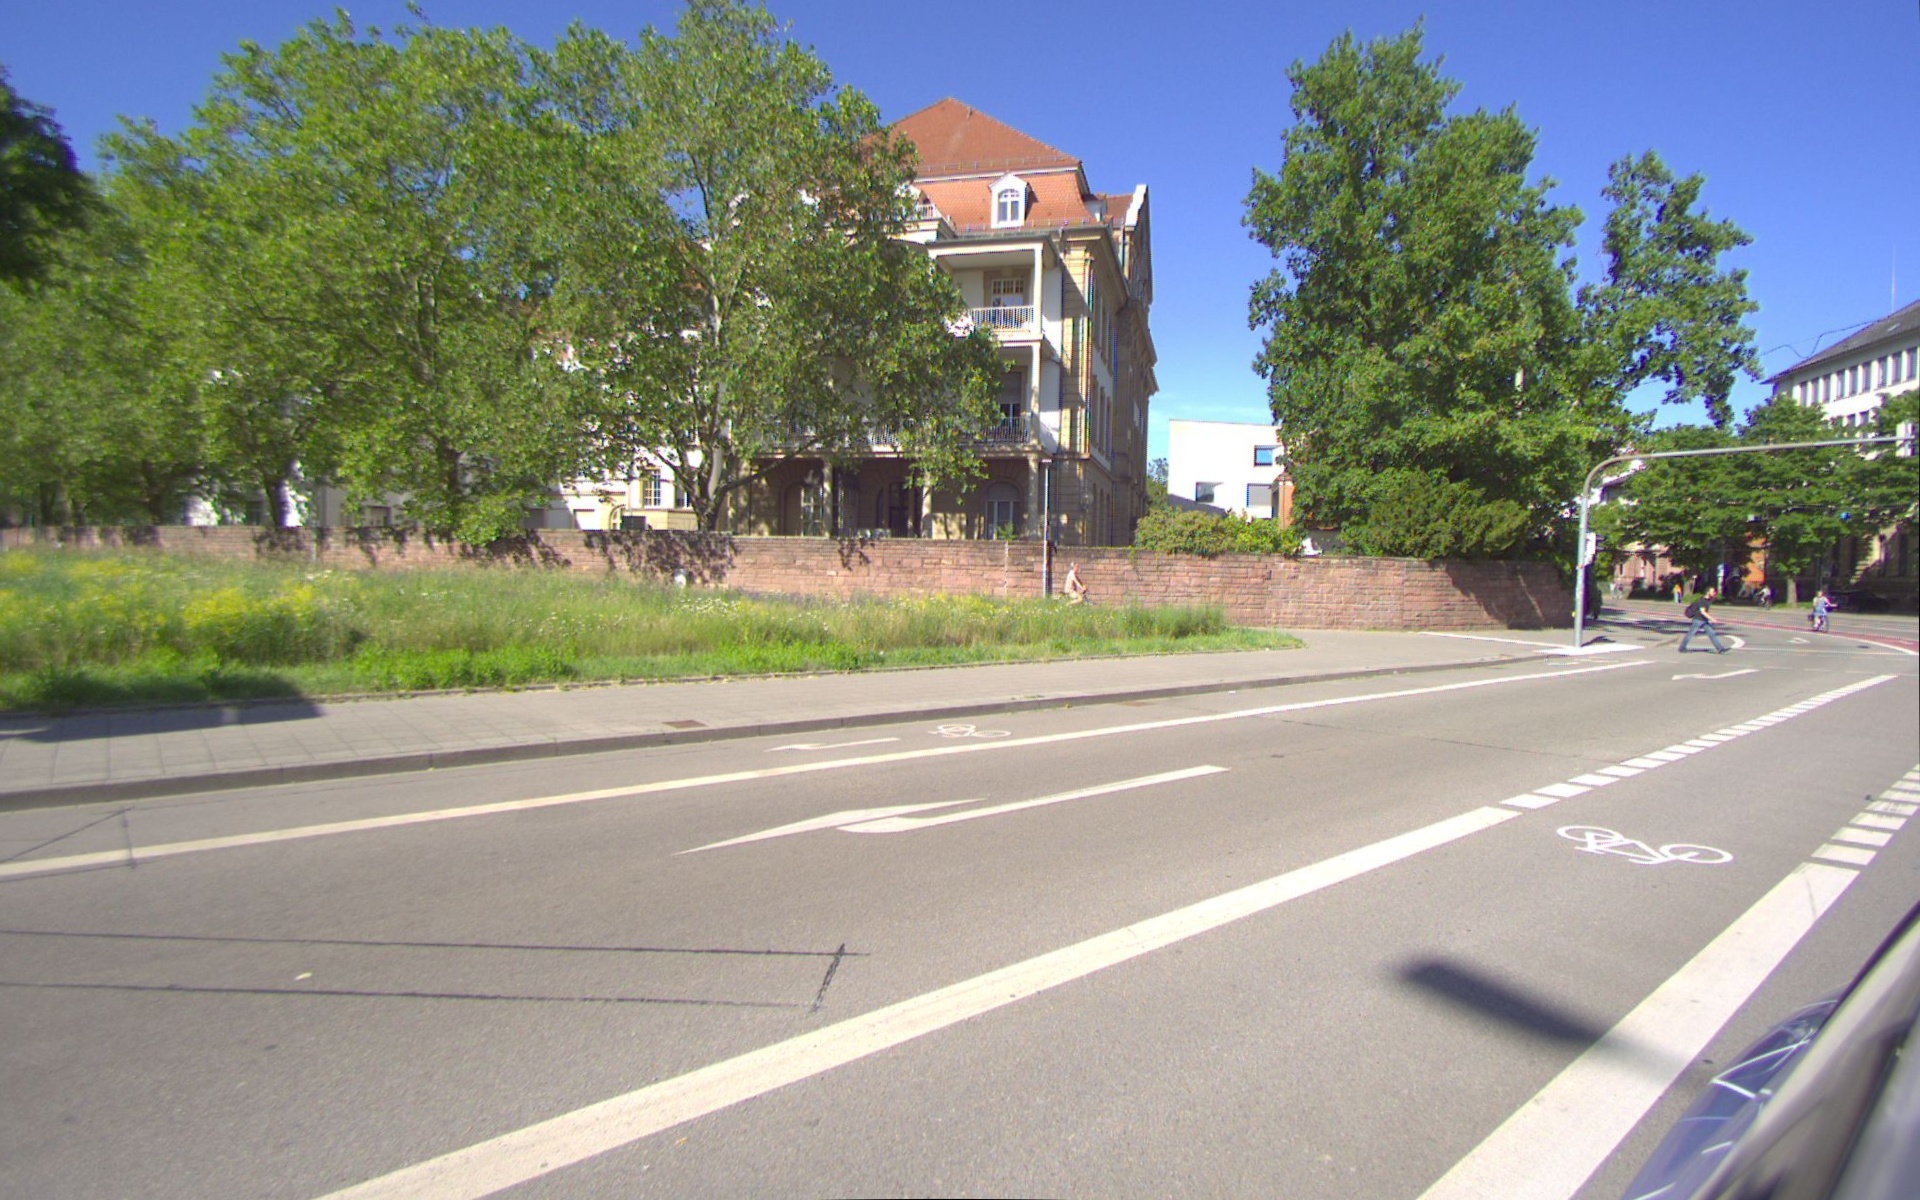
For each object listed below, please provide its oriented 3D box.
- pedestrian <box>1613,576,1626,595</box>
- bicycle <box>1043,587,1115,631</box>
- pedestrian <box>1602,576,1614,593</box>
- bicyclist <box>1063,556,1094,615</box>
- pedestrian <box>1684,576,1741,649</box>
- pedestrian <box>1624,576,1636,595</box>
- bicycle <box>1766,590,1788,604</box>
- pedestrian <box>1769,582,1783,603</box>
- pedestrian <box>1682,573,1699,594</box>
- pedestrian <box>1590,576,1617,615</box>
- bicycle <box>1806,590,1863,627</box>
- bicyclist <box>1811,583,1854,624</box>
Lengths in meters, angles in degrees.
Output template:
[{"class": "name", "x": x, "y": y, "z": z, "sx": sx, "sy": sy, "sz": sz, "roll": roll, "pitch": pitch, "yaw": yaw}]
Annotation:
[{"class": "pedestrian", "x": 66.478, "y": -1.460, "z": 102.031, "sx": 0.746, "sy": 1.836, "sz": 0.976, "roll": 1, "pitch": -2, "yaw": 14}, {"class": "bicycle", "x": 3.296, "y": 0.235, "z": 27.997, "sx": 1.858, "sy": 1.083, "sz": 0.721, "roll": 4, "pitch": 1, "yaw": 15}, {"class": "pedestrian", "x": 69.866, "y": -1.704, "z": 109.121, "sx": 0.745, "sy": 1.835, "sz": 0.978, "roll": 1, "pitch": 1, "yaw": 10}, {"class": "bicyclist", "x": 3.285, "y": -0.409, "z": 27.997, "sx": 0.766, "sy": 1.626, "sz": 0.720, "roll": 1, "pitch": 1, "yaw": 13}, {"class": "pedestrian", "x": 20.233, "y": 0.330, "z": 27.218, "sx": 0.718, "sy": 1.872, "sz": 0.961, "roll": 0, "pitch": 3, "yaw": -38}, {"class": "pedestrian", "x": 67.427, "y": -1.462, "z": 101.823, "sx": 0.747, "sy": 1.836, "sz": 0.974, "roll": 1, "pitch": -2, "yaw": 18}, {"class": "bicycle", "x": 57.560, "y": -0.212, "z": 71.353, "sx": 0.593, "sy": 1.019, "sz": 1.975, "roll": 0, "pitch": 1, "yaw": 20}, {"class": "pedestrian", "x": 57.547, "y": -0.536, "z": 71.335, "sx": 0.589, "sy": 1.420, "sz": 0.641, "roll": 0, "pitch": 0, "yaw": 21}, {"class": "pedestrian", "x": 63.354, "y": -1.436, "z": 87.749, "sx": 0.745, "sy": 1.835, "sz": 0.978, "roll": 1, "pitch": 1, "yaw": 9}, {"class": "pedestrian", "x": 29.491, "y": -0.205, "z": 46.363, "sx": 0.935, "sy": 1.742, "sz": 0.983, "roll": 2, "pitch": 2, "yaw": 37}, {"class": "bicycle", "x": 35.409, "y": 0.302, "z": 41.020, "sx": 0.753, "sy": 1.385, "sz": 2.720, "roll": 2, "pitch": 2, "yaw": 20}, {"class": "bicyclist", "x": 35.448, "y": 0.129, "z": 41.123, "sx": 0.859, "sy": 1.579, "sz": 1.272, "roll": 2, "pitch": 2, "yaw": 20}]
